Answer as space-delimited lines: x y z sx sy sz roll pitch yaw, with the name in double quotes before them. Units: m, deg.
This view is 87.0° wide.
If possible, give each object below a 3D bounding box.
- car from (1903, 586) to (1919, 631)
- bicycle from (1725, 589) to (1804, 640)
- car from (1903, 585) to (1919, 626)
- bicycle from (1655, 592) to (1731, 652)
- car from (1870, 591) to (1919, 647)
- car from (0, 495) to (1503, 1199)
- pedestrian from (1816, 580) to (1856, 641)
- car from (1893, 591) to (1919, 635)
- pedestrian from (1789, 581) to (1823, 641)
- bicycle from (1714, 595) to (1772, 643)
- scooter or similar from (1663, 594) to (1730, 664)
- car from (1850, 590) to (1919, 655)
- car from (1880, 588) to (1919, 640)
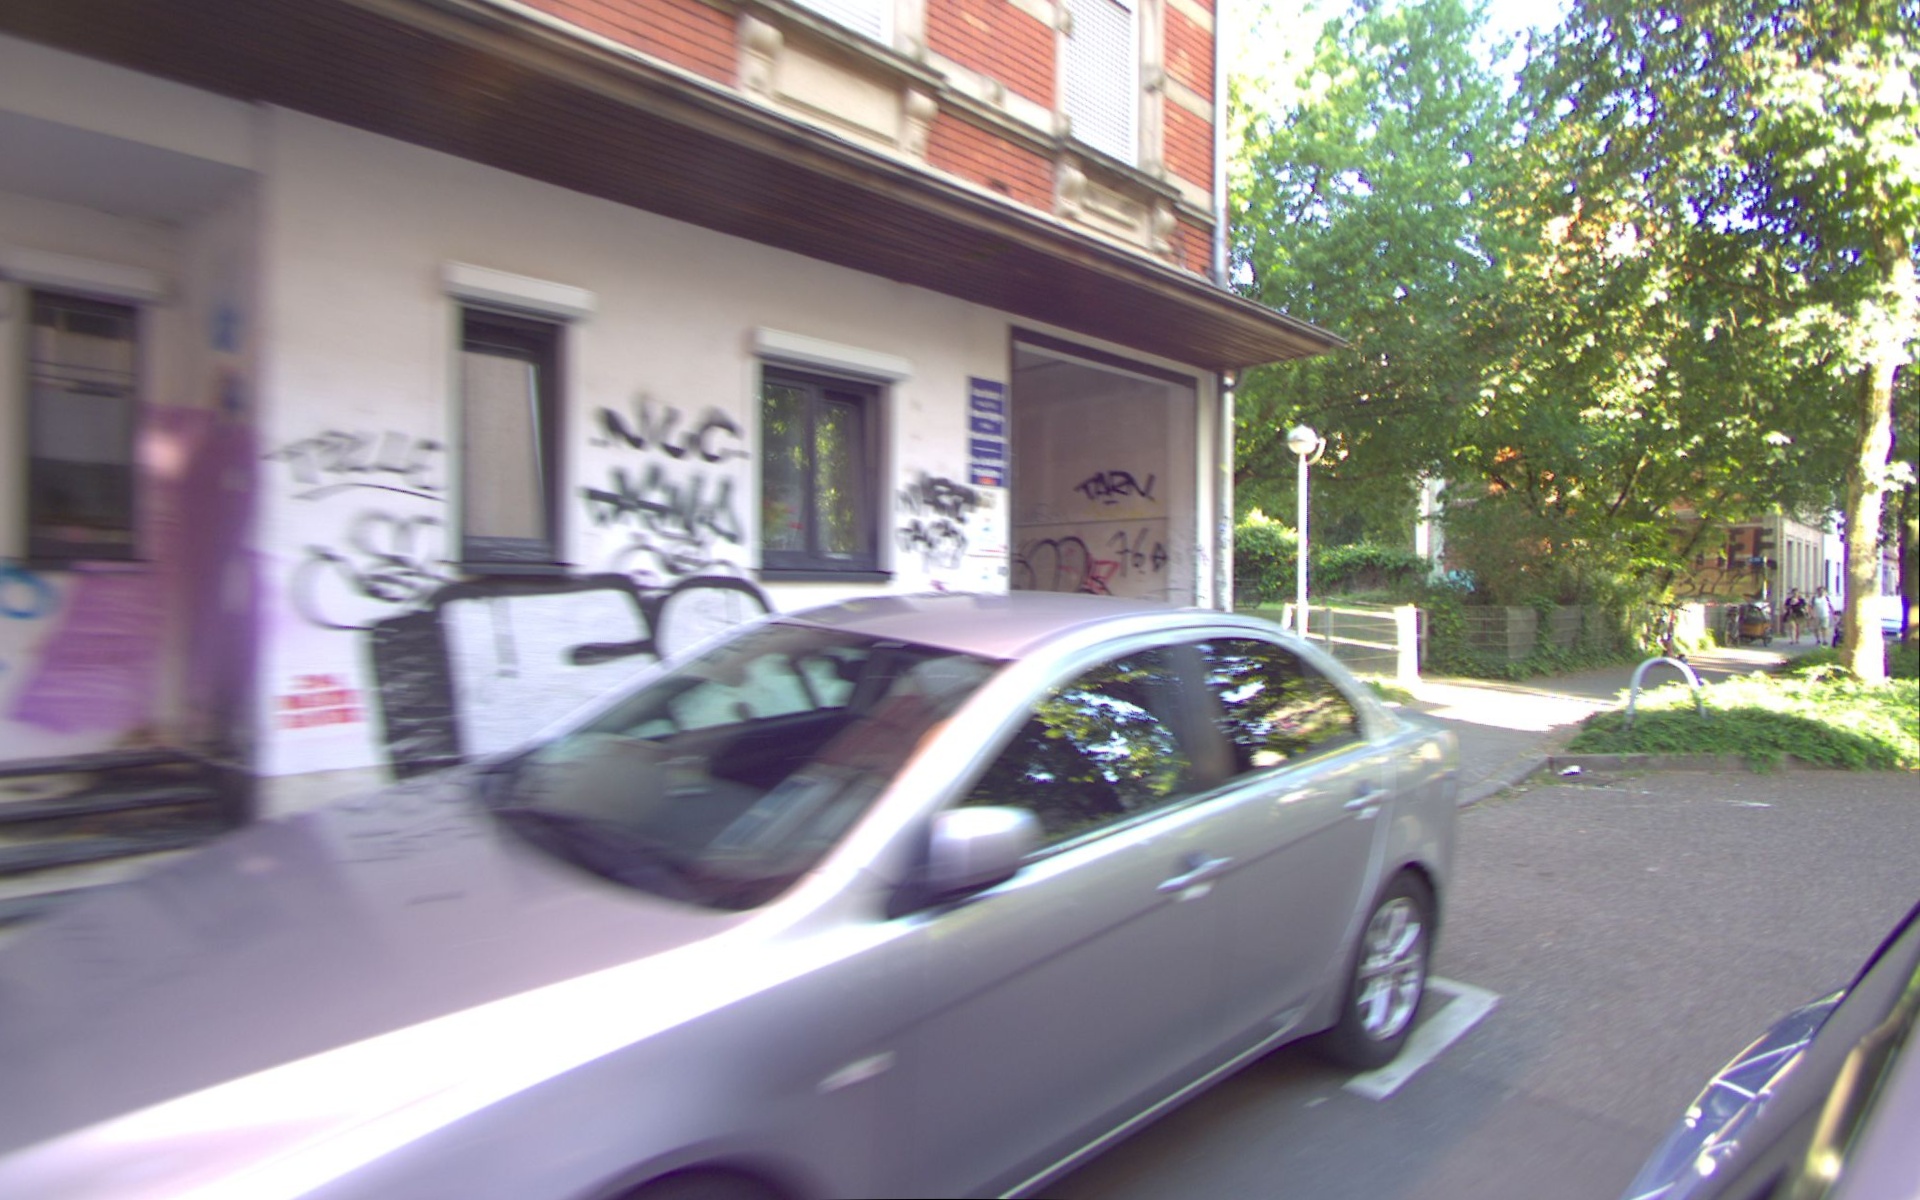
"car" 38.047 0.326 39.231 4.253 1.687 1.769 0 1 -42
"bicycle" 22.715 0.389 28.550 2.286 1.318 1.293 0 3 -41
"car" 41.527 0.245 42.948 4.256 1.687 1.884 -1 4 -44
"bicycle" 16.794 0.481 23.166 2.645 1.283 0.848 0 1 -42
"car" 27.791 0.519 29.386 4.280 1.512 1.661 0 2 -43
"car" -0.125 0.680 2.912 4.325 1.582 1.723 0 0 -44
"pedestrian" 25.671 0.299 29.650 0.740 1.729 0.711 0 4 -43
"car" 34.507 0.454 36.127 1.594 1.468 3.939 3 2 44
"pedestrian" 25.065 0.321 29.986 0.694 1.729 0.598 0 3 -44
"bicycle" 20.766 0.482 26.829 1.947 1.216 0.848 0 1 -42
"scooter or similar" 14.409 0.534 19.839 0.538 1.277 1.466 1 1 15
"car" 24.165 0.531 25.938 4.342 1.512 1.722 0 2 -45
"car" 31.420 0.445 33.152 3.701 1.605 1.595 0 2 -44
